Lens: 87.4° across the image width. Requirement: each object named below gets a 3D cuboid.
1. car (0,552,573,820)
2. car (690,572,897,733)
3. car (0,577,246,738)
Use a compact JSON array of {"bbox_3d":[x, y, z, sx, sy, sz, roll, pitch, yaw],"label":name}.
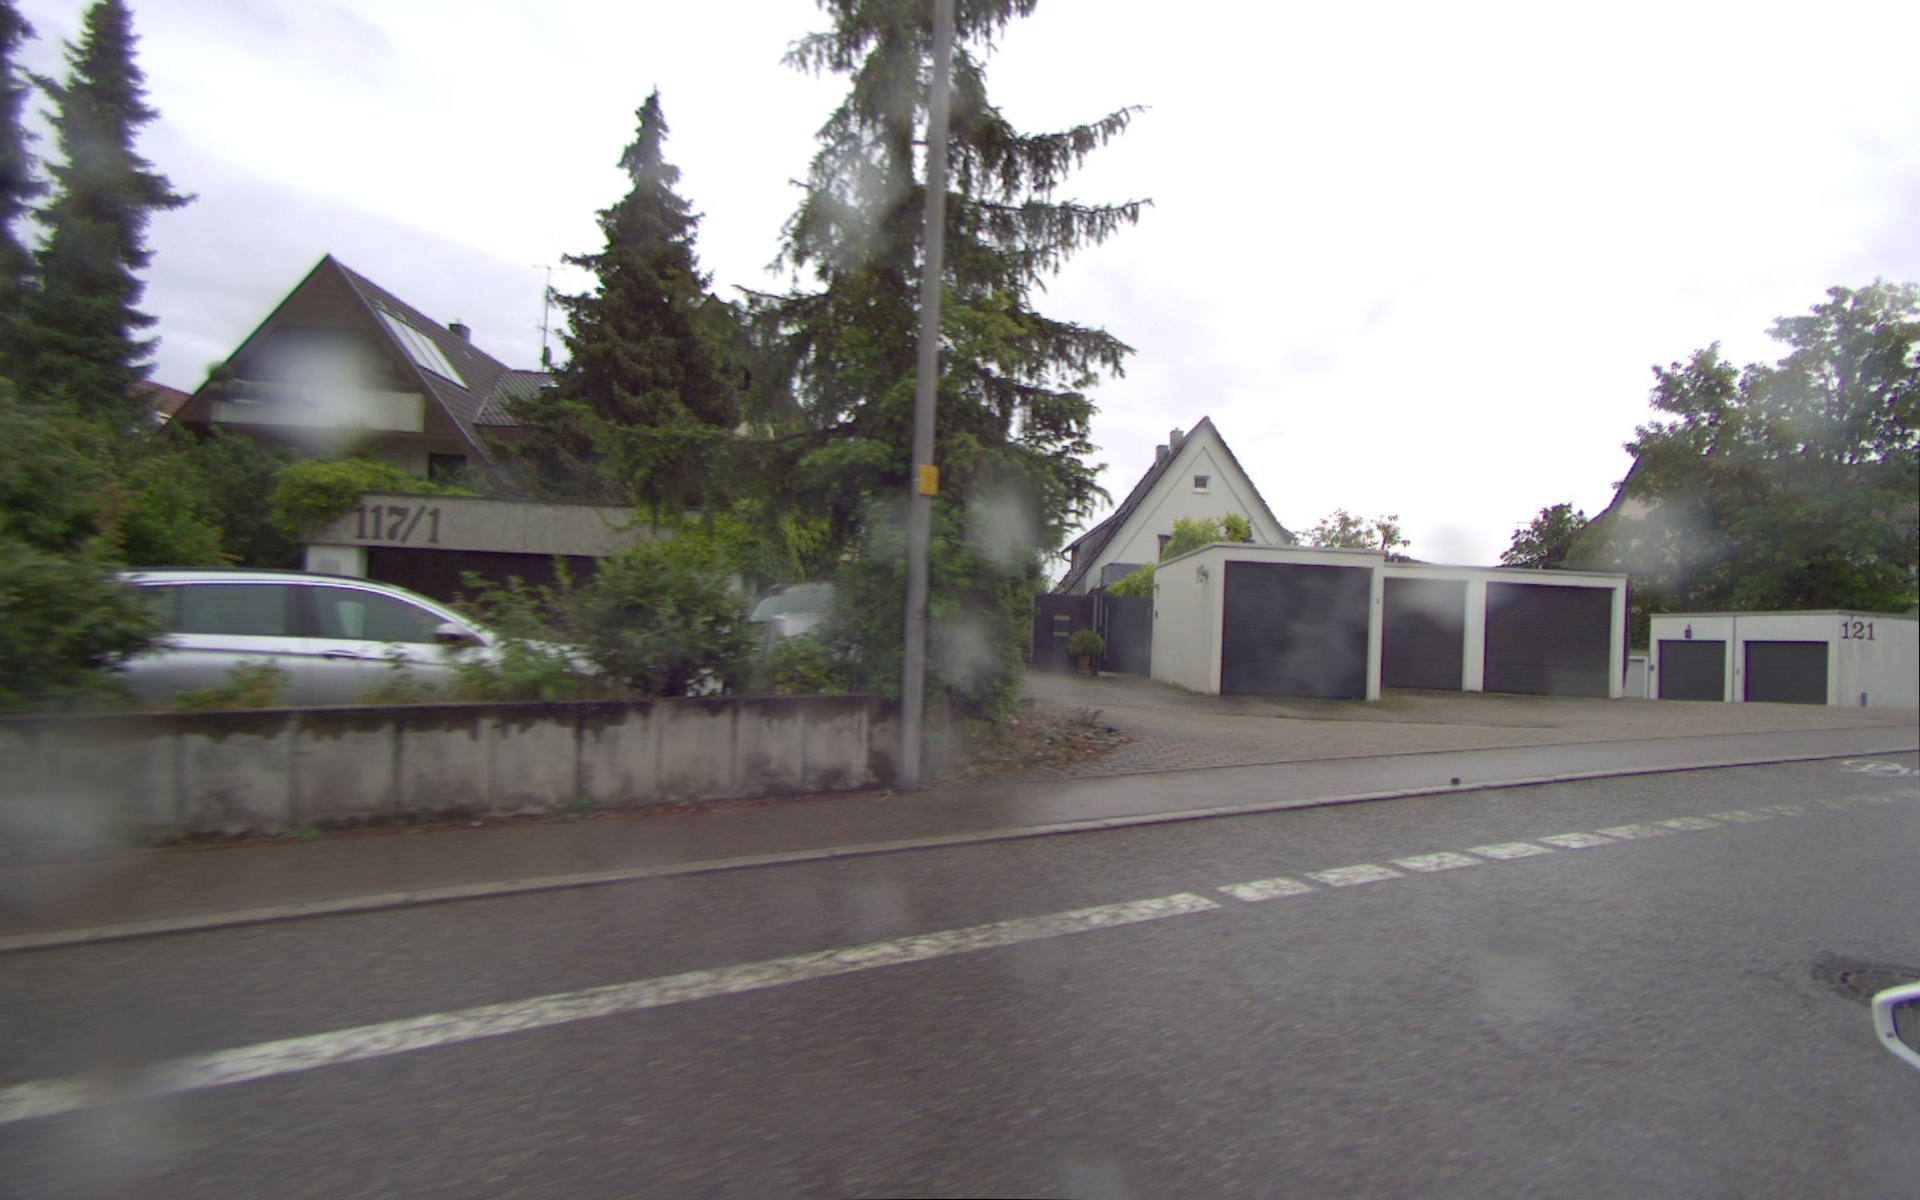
[{"bbox_3d":[-4.958,0.548,7.197,3.946,1.572,1.729,2,-1,-26],"label":"car"},{"bbox_3d":[-2.100,0.661,13.857,1.960,1.862,4.002,1,-1,3],"label":"car"},{"bbox_3d":[-9.652,0.507,10.227,1.903,1.456,4.000,1,-1,-1],"label":"car"}]
